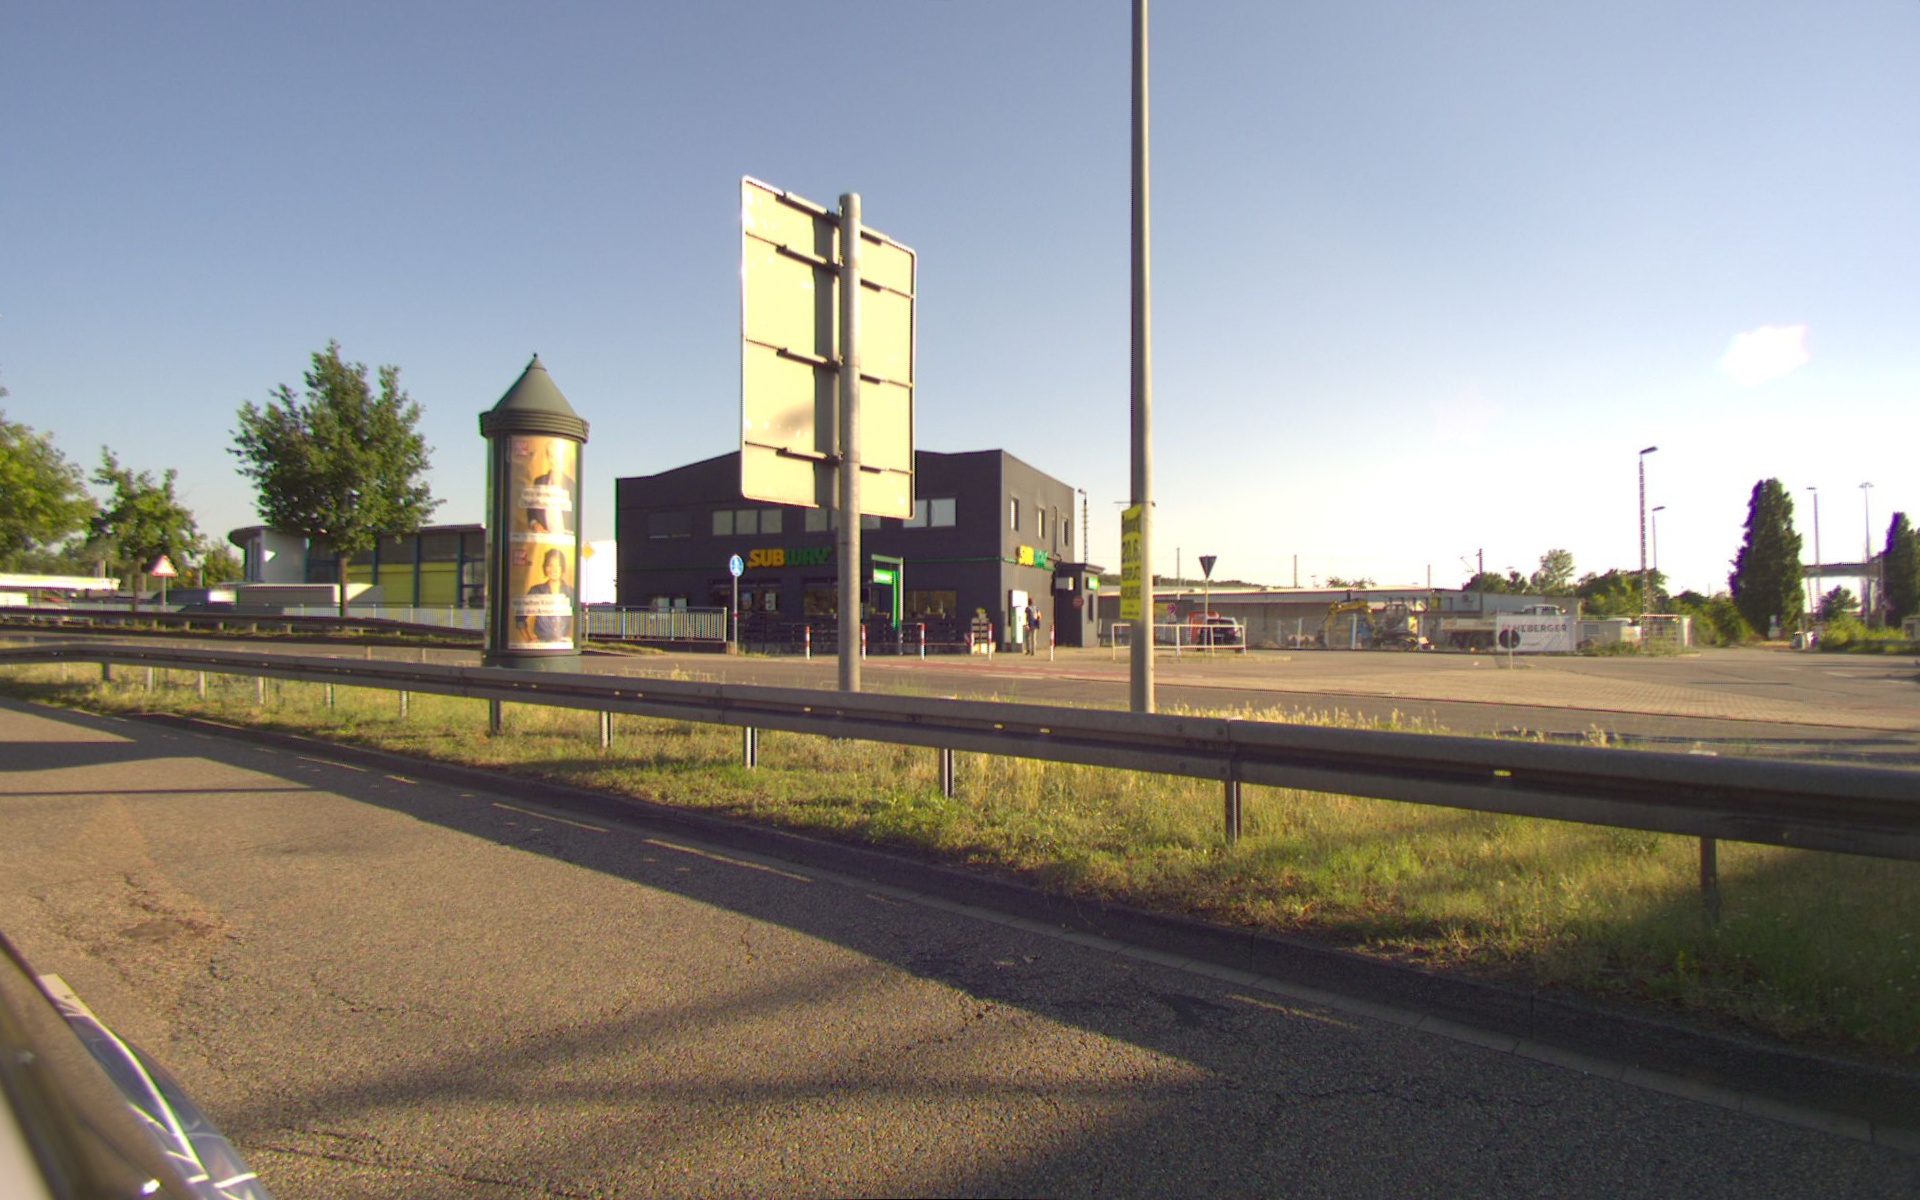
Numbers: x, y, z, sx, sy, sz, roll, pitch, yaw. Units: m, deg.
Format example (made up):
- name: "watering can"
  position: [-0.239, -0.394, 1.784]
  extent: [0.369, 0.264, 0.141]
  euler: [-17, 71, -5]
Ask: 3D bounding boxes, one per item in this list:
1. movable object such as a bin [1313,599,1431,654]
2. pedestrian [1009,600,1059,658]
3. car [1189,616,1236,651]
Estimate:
- name: "movable object such as a bin"
  position: [25.324, 1.618, 62.403]
  extent: [6.587, 3.241, 2.428]
  euler: [-1, 0, 23]
- name: "pedestrian"
  position: [2.448, 0.945, 33.534]
  extent: [1.085, 1.849, 1.258]
  euler: [-1, 0, 42]
- name: "car"
  position: [16.053, 2.087, 64.259]
  extent: [1.991, 2.029, 3.962]
  euler: [-1, 0, 28]
